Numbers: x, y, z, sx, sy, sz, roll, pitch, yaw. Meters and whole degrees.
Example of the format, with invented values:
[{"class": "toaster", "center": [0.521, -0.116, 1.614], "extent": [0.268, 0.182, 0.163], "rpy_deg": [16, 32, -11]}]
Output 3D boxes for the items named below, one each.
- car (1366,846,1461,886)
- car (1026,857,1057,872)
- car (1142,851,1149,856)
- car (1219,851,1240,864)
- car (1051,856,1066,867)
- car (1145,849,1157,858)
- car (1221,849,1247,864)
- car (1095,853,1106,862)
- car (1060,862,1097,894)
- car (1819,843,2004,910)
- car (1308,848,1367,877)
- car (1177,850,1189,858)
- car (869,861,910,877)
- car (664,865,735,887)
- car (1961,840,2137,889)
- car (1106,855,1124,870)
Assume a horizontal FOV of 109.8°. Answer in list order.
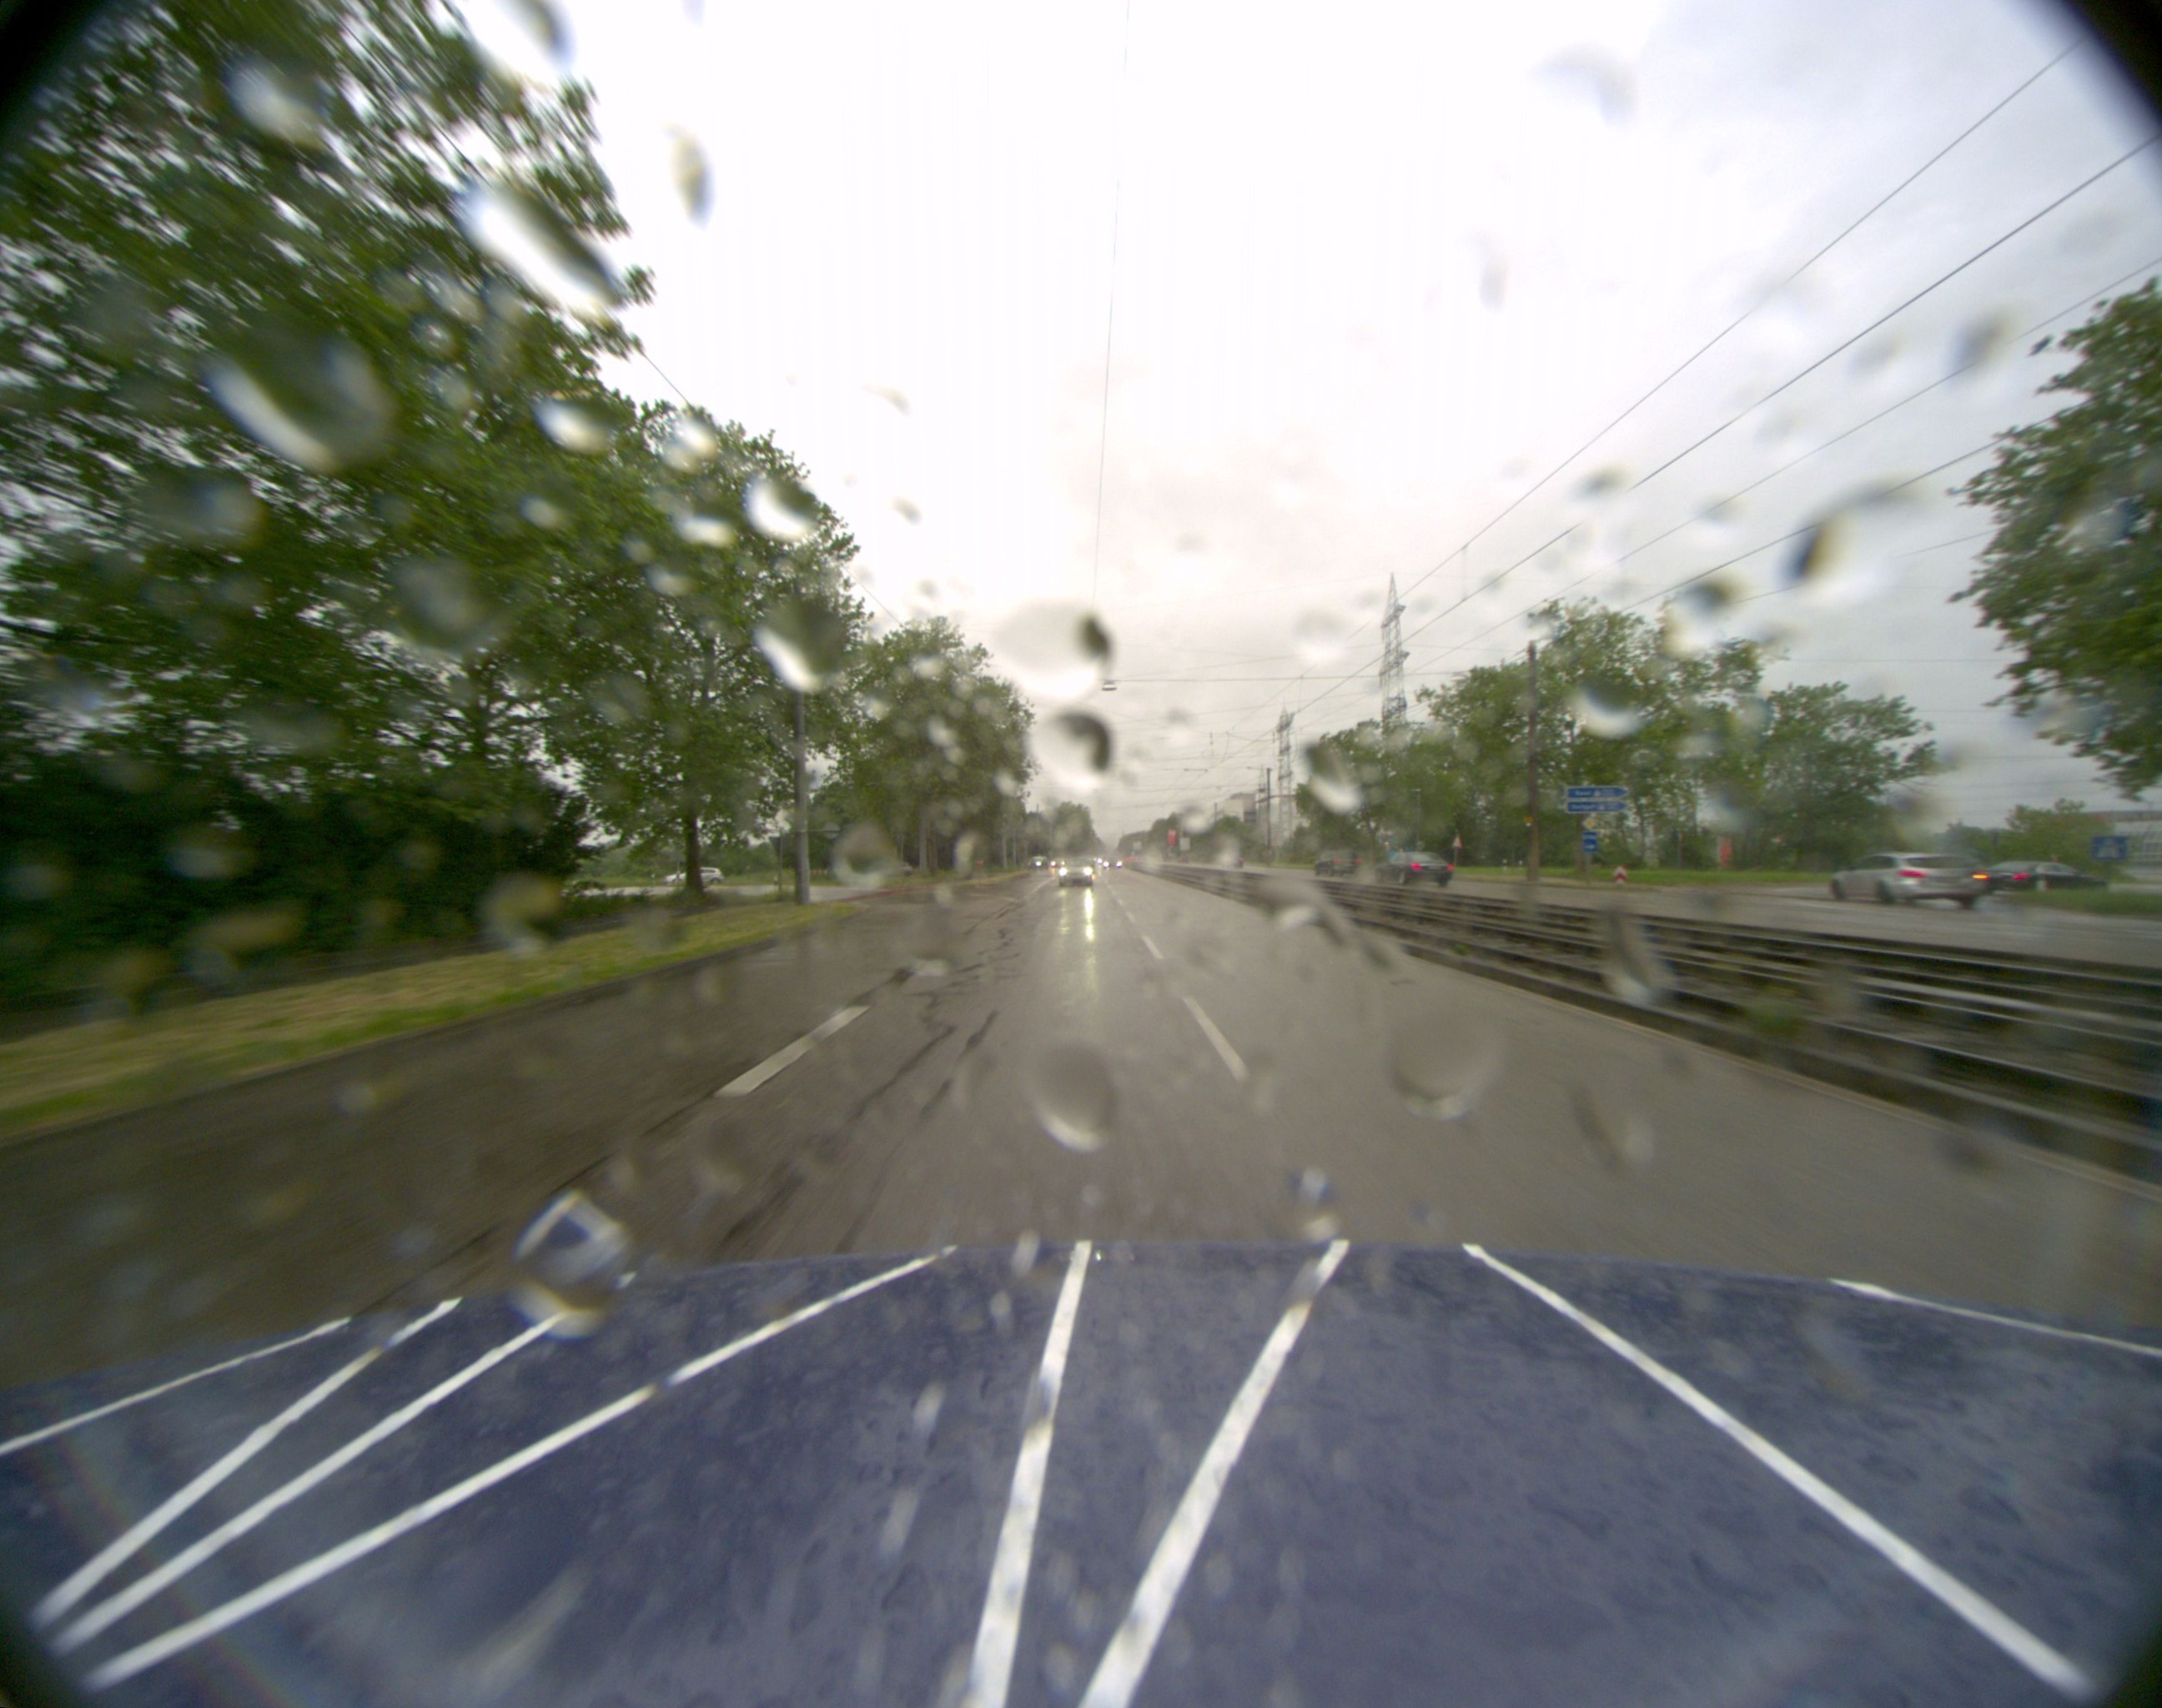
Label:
[{"class": "car", "center": [14.825, 0.549, 34.283], "extent": [1.780, 1.575, 5.682], "rpy_deg": [-2, -1, 0]}, {"class": "car", "center": [-4.620, 1.249, 89.751], "extent": [1.794, 1.692, 4.771], "rpy_deg": [-3, -1, 22]}, {"class": "car", "center": [21.900, -0.239, 257.883], "extent": [1.998, 1.455, 5.253], "rpy_deg": [1, -1, 4]}, {"class": "car", "center": [20.937, 0.523, 107.314], "extent": [1.846, 1.676, 4.650], "rpy_deg": [-2, -1, -1]}, {"class": "car", "center": [-3.032, 1.019, 103.273], "extent": [1.783, 1.419, 4.001], "rpy_deg": [-2, -1, 2]}, {"class": "car", "center": [14.577, -0.095, 158.967], "extent": [1.892, 1.798, 5.004], "rpy_deg": [-2, -1, -1]}, {"class": "car", "center": [17.027, 0.305, 84.840], "extent": [1.795, 1.540, 5.313], "rpy_deg": [-2, -1, 0]}, {"class": "car", "center": [3.328, 0.606, 128.653], "extent": [1.807, 1.521, 3.646], "rpy_deg": [-2, -1, 0]}, {"class": "car", "center": [-0.128, 1.200, 39.689], "extent": [1.807, 1.521, 3.646], "rpy_deg": [-2, -1, 0]}, {"class": "car", "center": [23.825, 0.585, 22.096], "extent": [1.821, 1.695, 5.029], "rpy_deg": [-3, -1, 25]}, {"class": "car", "center": [16.696, 0.550, 49.870], "extent": [1.824, 1.695, 6.105], "rpy_deg": [-2, -1, 1]}, {"class": "car", "center": [19.498, 0.023, 145.487], "extent": [1.693, 1.542, 4.000], "rpy_deg": [-2, -1, 0]}, {"class": "car", "center": [-17.480, 1.373, 69.453], "extent": [1.595, 1.258, 3.228], "rpy_deg": [-3, -1, 44]}, {"class": "car", "center": [-29.238, 1.691, 58.302], "extent": [4.614, 1.494, 1.627], "rpy_deg": [-2, -1, -39]}, {"class": "car", "center": [40.287, 0.423, 31.718], "extent": [4.761, 1.787, 2.089], "rpy_deg": [-2, -1, -2]}, {"class": "car", "center": [3.807, 0.949, 85.142], "extent": [1.807, 1.521, 3.646], "rpy_deg": [-2, -1, 0]}]
